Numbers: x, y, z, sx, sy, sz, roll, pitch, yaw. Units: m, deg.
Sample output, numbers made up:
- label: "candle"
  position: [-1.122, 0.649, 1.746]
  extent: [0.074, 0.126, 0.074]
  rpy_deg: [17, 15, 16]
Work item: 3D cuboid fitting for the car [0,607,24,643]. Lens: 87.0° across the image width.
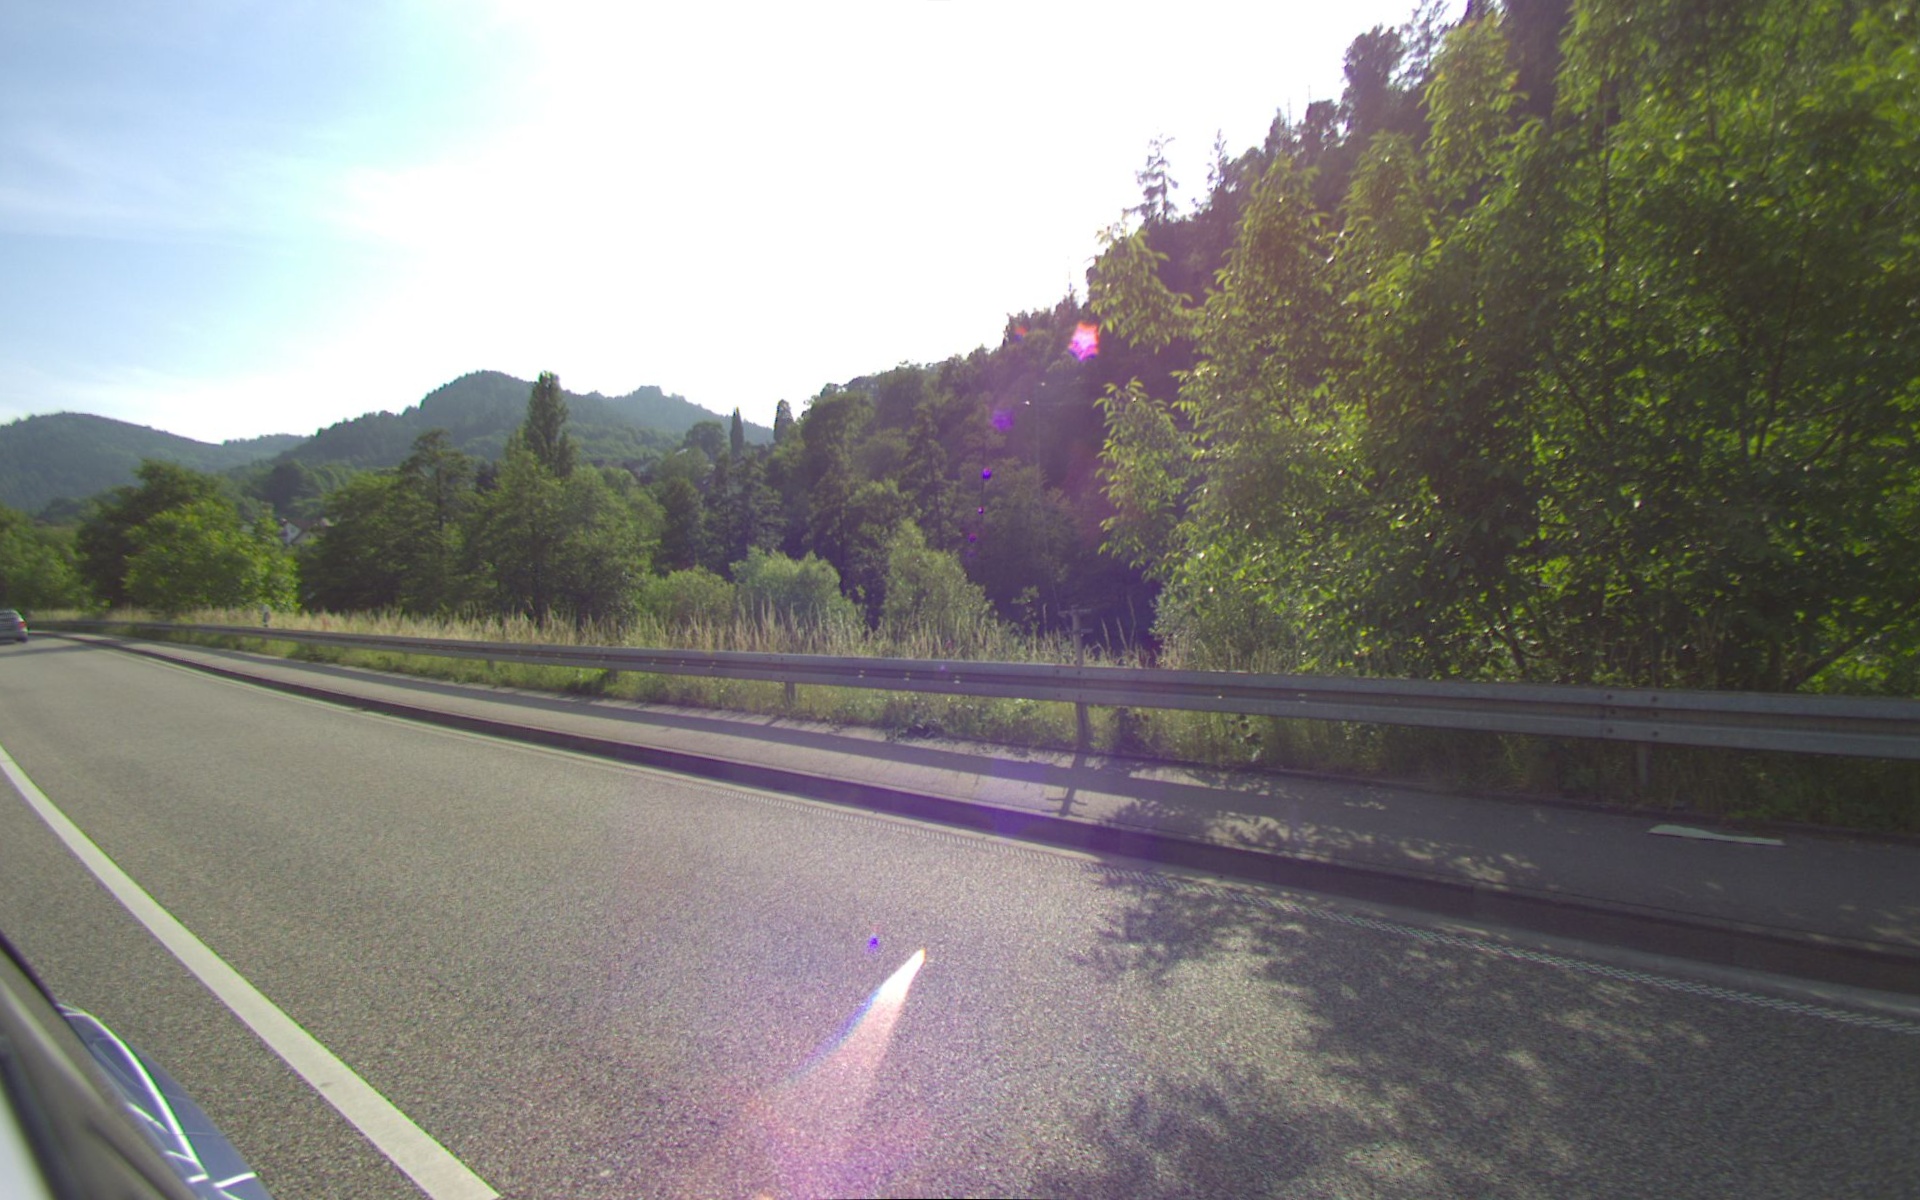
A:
- label: "car"
  position: [-42.741, 1.130, 44.826]
  extent: [4.000, 1.490, 1.560]
  rpy_deg: [-1, 1, 43]
